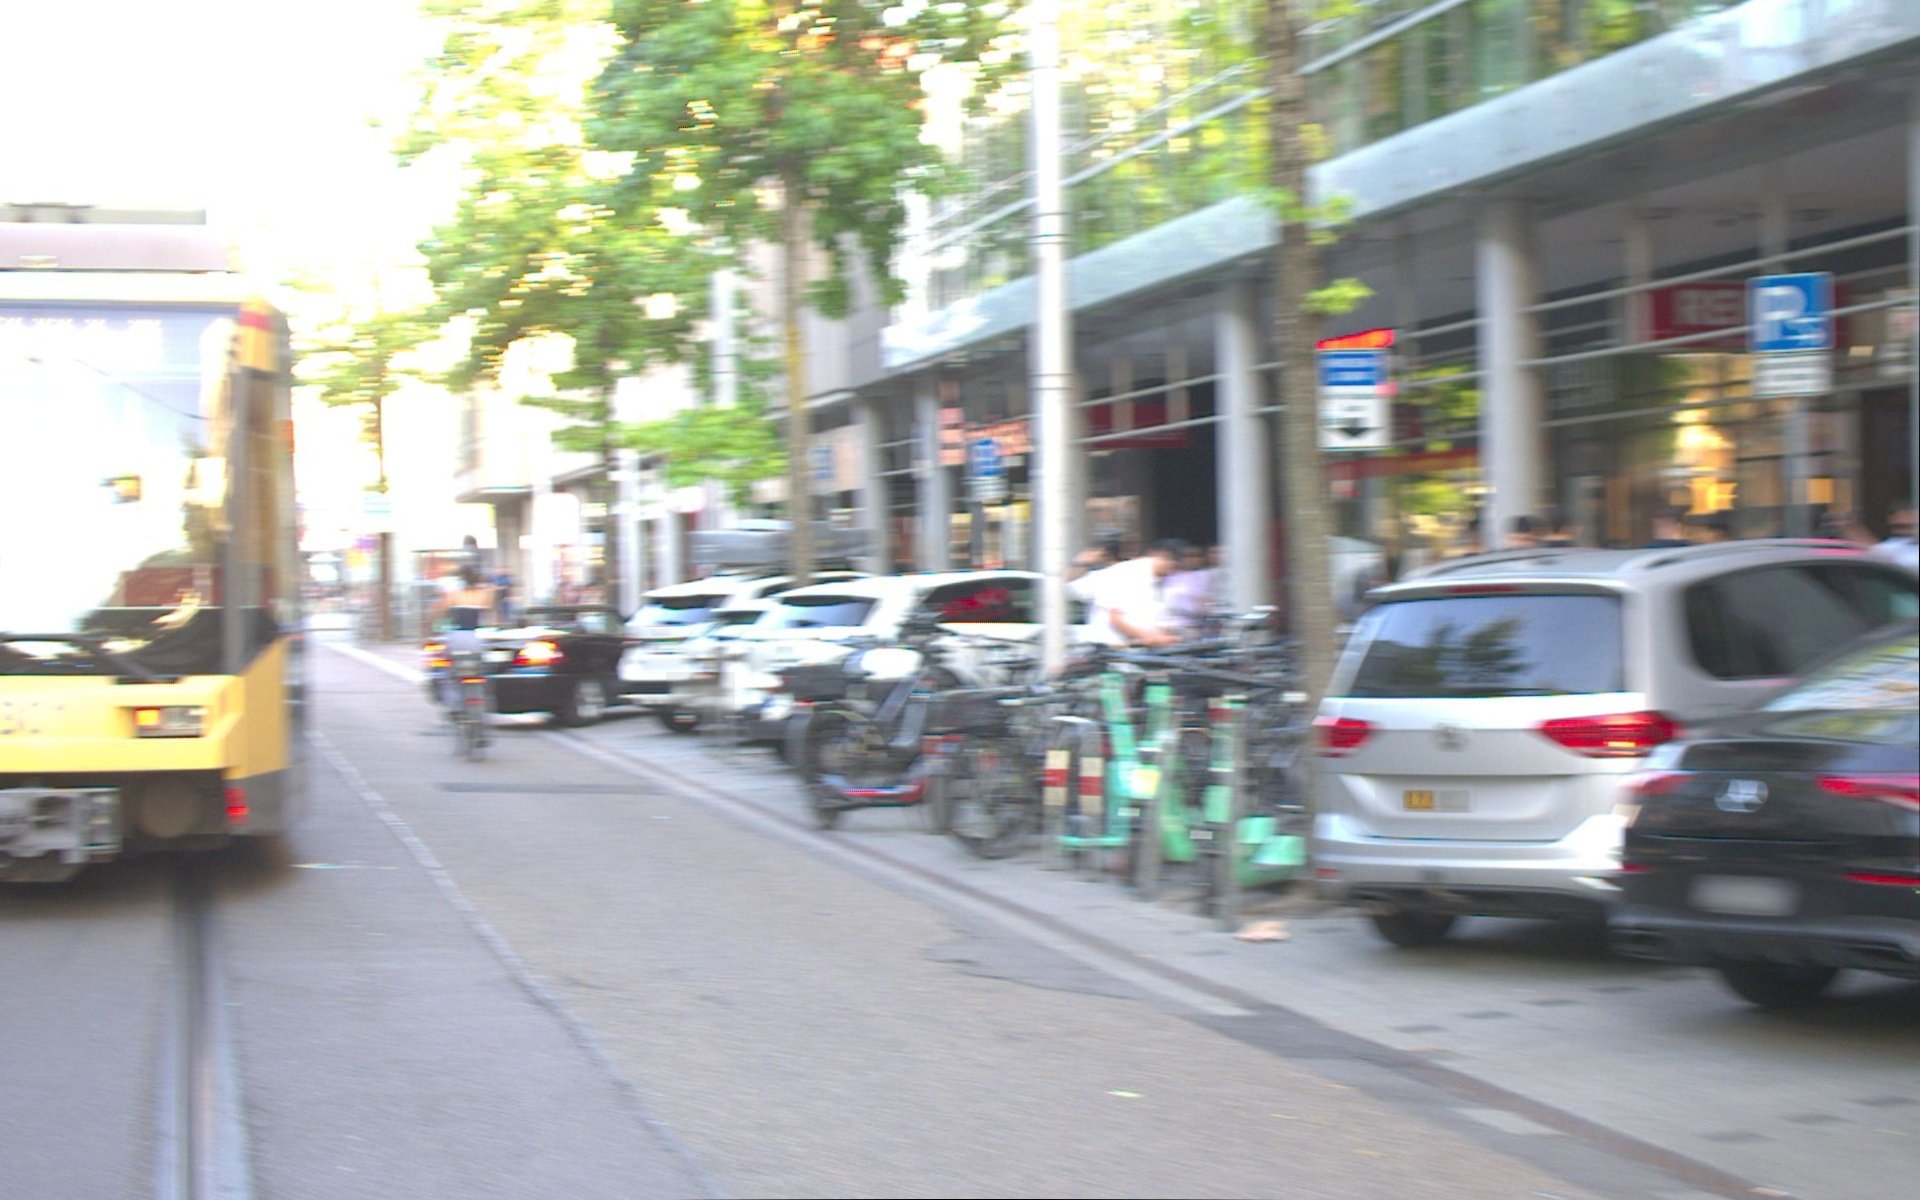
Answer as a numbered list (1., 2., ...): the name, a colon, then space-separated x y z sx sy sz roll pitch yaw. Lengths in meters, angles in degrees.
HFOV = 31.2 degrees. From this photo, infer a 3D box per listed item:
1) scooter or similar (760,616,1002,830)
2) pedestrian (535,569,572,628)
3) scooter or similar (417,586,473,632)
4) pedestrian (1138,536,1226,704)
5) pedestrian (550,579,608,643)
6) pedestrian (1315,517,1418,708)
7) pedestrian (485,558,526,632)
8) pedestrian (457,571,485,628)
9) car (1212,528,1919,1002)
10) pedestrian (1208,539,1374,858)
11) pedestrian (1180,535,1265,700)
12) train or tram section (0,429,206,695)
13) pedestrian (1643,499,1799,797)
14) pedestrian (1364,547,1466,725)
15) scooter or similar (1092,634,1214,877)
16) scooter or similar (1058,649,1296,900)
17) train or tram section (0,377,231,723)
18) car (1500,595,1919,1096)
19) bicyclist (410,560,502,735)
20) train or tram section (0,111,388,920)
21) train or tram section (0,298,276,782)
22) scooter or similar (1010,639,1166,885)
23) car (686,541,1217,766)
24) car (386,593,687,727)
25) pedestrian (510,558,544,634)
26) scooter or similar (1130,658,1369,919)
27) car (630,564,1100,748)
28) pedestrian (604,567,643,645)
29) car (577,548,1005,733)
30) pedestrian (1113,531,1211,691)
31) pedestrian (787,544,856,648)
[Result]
1. scooter or similar: -0.511 0.769 22.000 1.392 1.300 0.695 -1 2 39
2. pedestrian: -9.560 -0.039 80.821 0.739 1.323 0.721 -3 2 -12
3. scooter or similar: -13.861 0.248 92.496 1.379 1.206 0.515 -2 0 -26
4. pedestrian: 2.256 0.204 35.003 0.679 1.693 0.806 0 -1 -13
5. pedestrian: -8.356 0.235 75.377 1.112 1.323 0.926 -3 1 -12
6. pedestrian: 3.659 0.097 30.994 0.679 1.693 0.806 0 2 -13
7. pedestrian: -11.051 -0.117 83.530 0.887 1.776 0.752 0 -1 -15
8. pedestrian: -14.716 -0.010 103.397 0.701 1.678 0.680 -3 2 -13
9. car: 3.331 0.568 14.945 1.953 1.634 4.665 -2 1 42
10. pedestrian: 1.755 0.507 18.212 0.790 1.620 0.769 -2 1 6
11. pedestrian: 2.735 0.181 35.865 0.662 1.693 0.806 0 -1 -13
12. train or tram section: -12.851 -0.510 50.811 3.043 3.512 10.533 0 0 -14
13. pedestrian: 4.610 0.279 20.861 0.729 1.748 0.717 -2 1 1
14. pedestrian: 3.995 0.315 30.218 0.679 1.543 0.665 0 -1 -13
15. scooter or similar: 1.034 0.818 18.572 0.568 1.201 1.281 -2 1 2
16. scooter or similar: 1.114 0.863 17.438 0.498 1.178 1.329 -1 1 40
17. train or tram section: -10.302 -0.526 40.426 3.002 3.512 10.848 -1 0 -14
18. car: 4.212 0.668 12.110 4.337 1.418 1.955 -4 1 -34
19. bicyclist: -4.457 0.419 30.348 0.726 1.521 0.733 1 -1 -13
20. train or tram section: -5.273 -0.361 19.994 3.016 3.512 10.373 -1 0 -14
21. train or tram section: -7.760 -0.450 30.094 3.006 3.512 10.405 0 0 -14
22. scooter or similar: 0.664 0.835 18.194 0.482 1.218 1.214 -3 1 -12
23. car: -0.002 0.416 28.899 1.876 1.557 4.333 -2 2 45
24. car: -4.718 0.644 38.984 1.803 1.344 4.443 -1 1 16
25. pedestrian: -10.138 -0.097 80.442 0.749 1.776 0.891 0 -1 -10
26. scooter or similar: 1.418 0.885 16.657 0.579 1.146 1.399 -1 1 31
27. car: -0.893 0.517 33.467 4.172 1.453 1.864 -4 1 -36
28. pedestrian: -7.273 0.127 74.232 0.701 1.632 0.646 -3 2 -13
29. car: -1.720 0.393 36.050 4.197 1.632 1.920 -5 2 -45
30. pedestrian: 2.306 0.117 39.301 0.877 1.776 0.755 -3 2 -13
31. pedestrian: -2.586 -0.085 63.897 1.053 1.870 0.929 -3 2 -13
